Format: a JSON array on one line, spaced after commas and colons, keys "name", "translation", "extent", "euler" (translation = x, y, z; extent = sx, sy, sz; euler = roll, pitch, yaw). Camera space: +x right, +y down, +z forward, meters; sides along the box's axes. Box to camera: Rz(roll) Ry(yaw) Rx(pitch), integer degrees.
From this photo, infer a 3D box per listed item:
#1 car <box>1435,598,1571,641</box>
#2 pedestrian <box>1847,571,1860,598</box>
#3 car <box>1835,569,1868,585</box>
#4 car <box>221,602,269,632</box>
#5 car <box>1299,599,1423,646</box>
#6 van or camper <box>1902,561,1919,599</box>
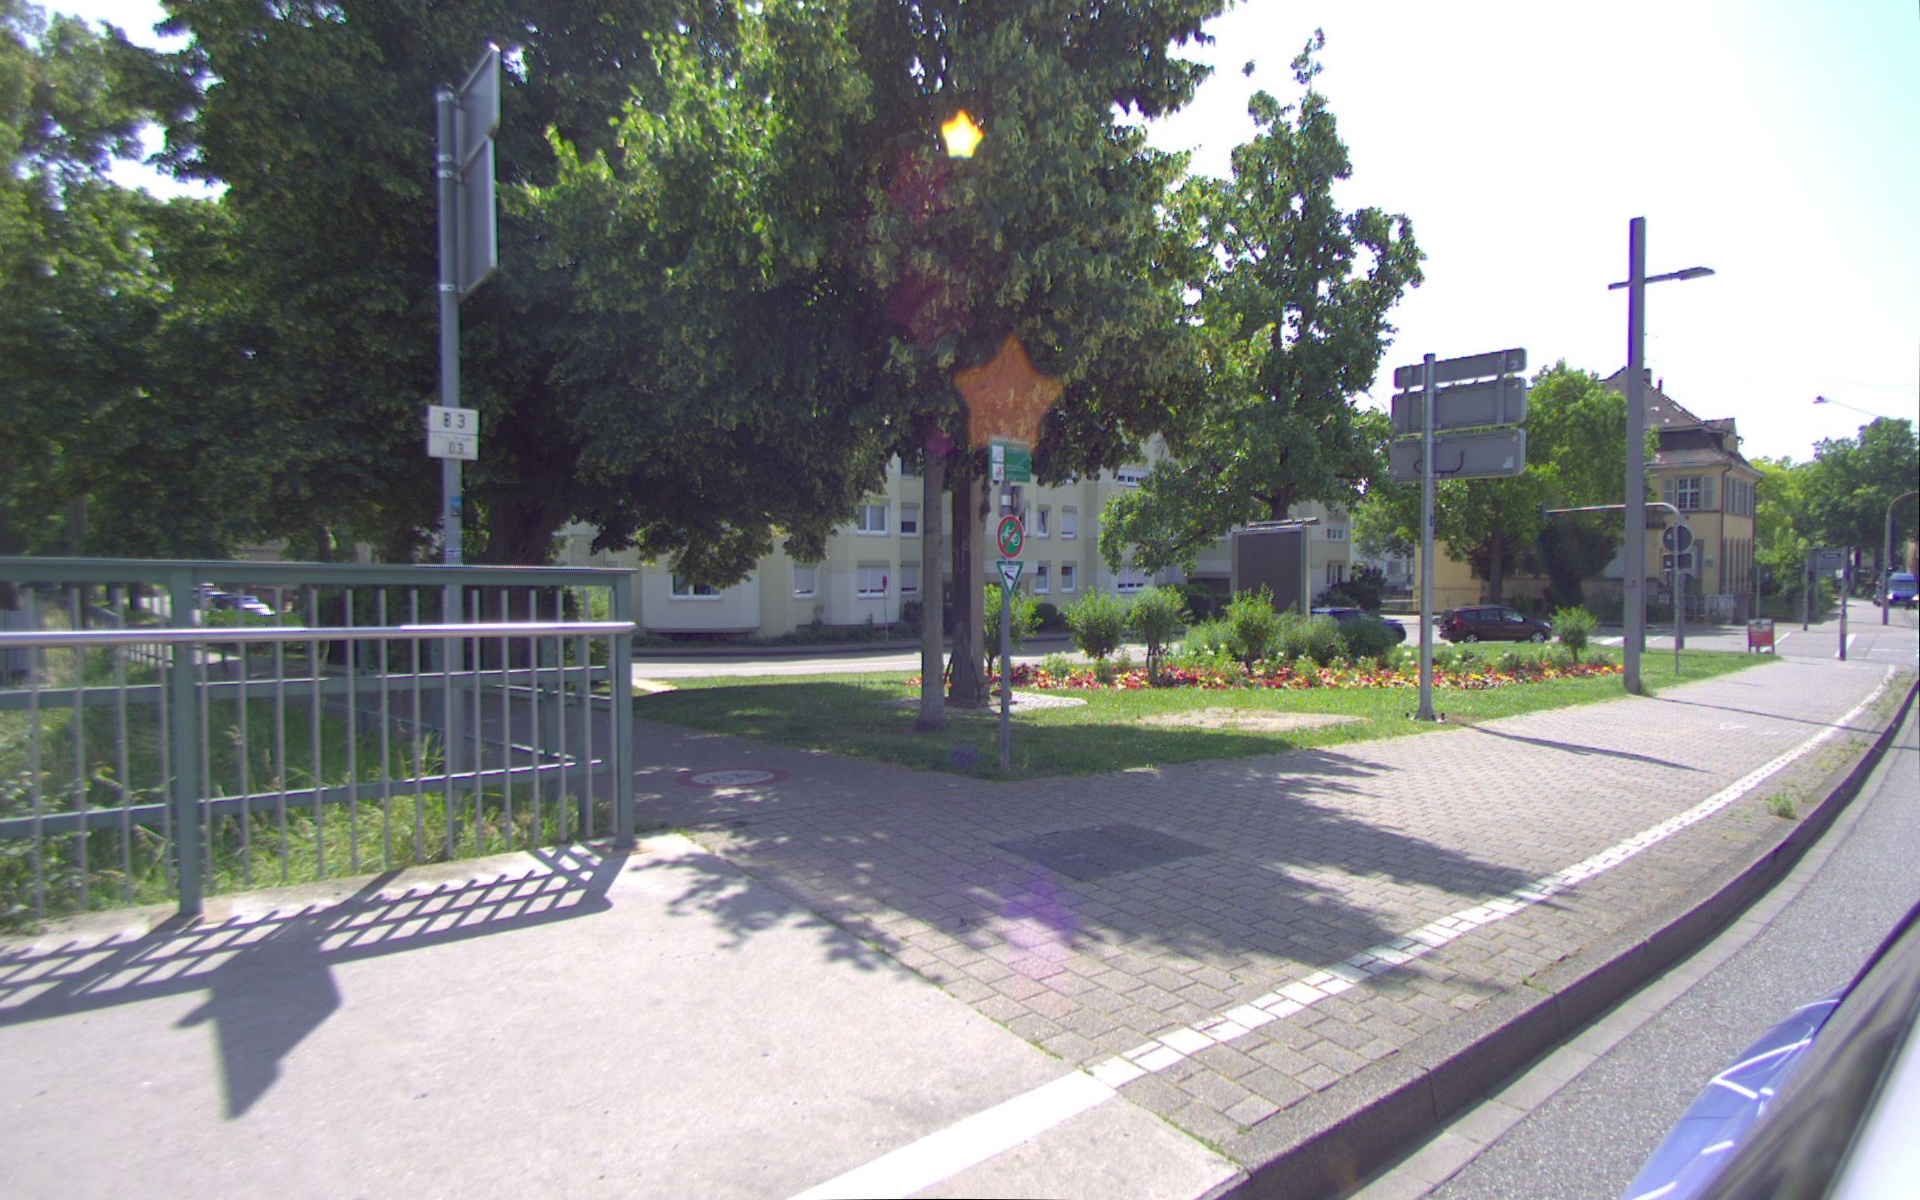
[{"name": "car", "translation": [23.156, 0.807, 43.260], "extent": [4.730, 1.652, 1.917], "euler": [-1, 2, 3]}, {"name": "pedestrian", "translation": [65.208, -1.109, 73.850], "extent": [0.619, 1.942, 0.732], "euler": [2, 3, 43]}, {"name": "car", "translation": [115.620, -2.968, 131.290], "extent": [1.896, 1.749, 3.967], "euler": [5, 2, 24]}, {"name": "car", "translation": [-38.729, 0.915, 54.772], "extent": [1.564, 1.572, 3.739], "euler": [0, 0, -44]}, {"name": "car", "translation": [17.200, 0.939, 43.483], "extent": [4.669, 1.721, 2.005], "euler": [-1, 3, -16]}, {"name": "van or camper", "translation": [68.635, -1.461, 72.134], "extent": [2.158, 2.613, 5.756], "euler": [1, 3, 43]}]
